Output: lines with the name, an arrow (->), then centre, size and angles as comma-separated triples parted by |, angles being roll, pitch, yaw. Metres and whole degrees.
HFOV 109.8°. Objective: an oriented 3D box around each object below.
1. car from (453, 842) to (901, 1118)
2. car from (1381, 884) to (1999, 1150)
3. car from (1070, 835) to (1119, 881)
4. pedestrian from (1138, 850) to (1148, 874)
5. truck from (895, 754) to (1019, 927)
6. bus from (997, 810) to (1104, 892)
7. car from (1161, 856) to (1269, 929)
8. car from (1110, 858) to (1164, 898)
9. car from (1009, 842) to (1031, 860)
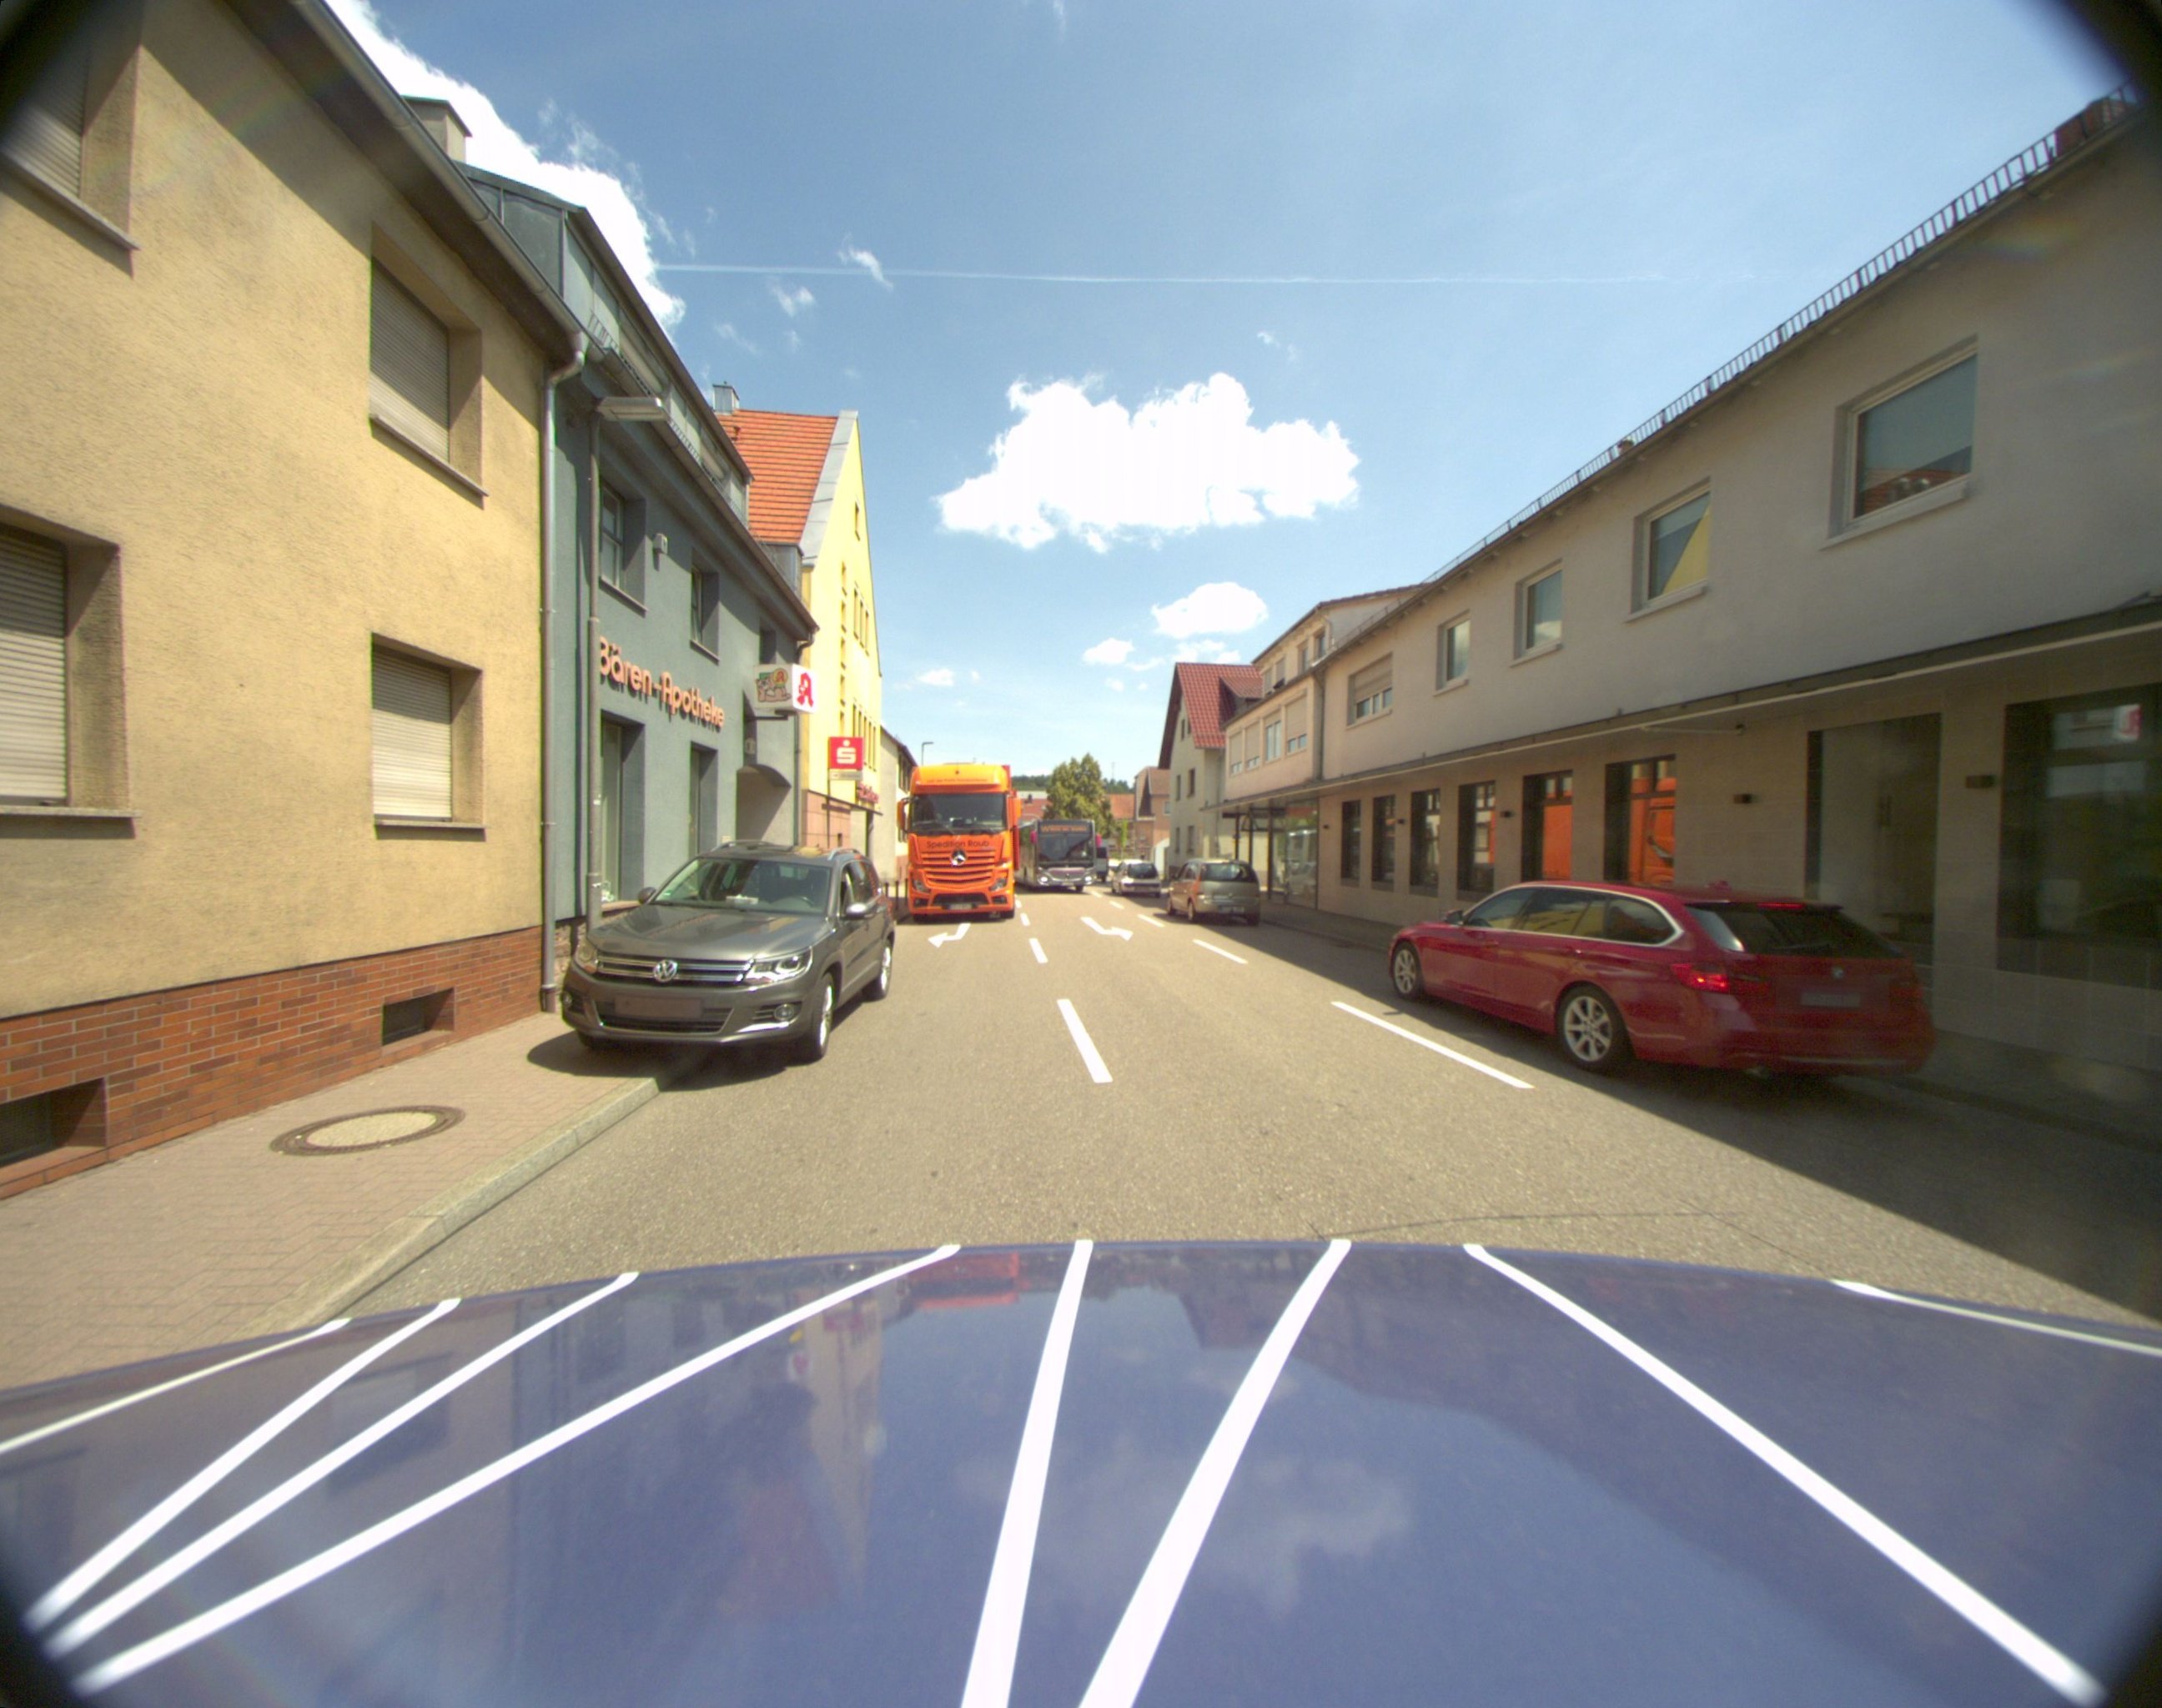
car -> -3.039, 0.804, 6.877 | 1.999, 1.699, 4.099 | 2, 0, -4
car -> 4.466, 1.059, 6.621 | 1.722, 1.400, 4.283 | 3, -1, -4
car -> 0.740, 0.241, 46.141 | 2.147, 2.554, 5.389 | 2, 0, -8
pedestrian -> 4.461, 0.579, 54.665 | 0.472, 1.754, 0.477 | 0, 2, -27
truck -> -3.264, -0.275, 22.486 | 2.616, 3.922, 9.988 | -2, 0, -4
bus -> -2.194, -0.111, 39.017 | 2.861, 3.186, 19.015 | -1, 0, -10
car -> 3.341, 0.923, 19.617 | 1.684, 1.607, 3.819 | 4, -1, -6
car -> 2.240, 0.930, 31.135 | 1.601, 1.447, 3.445 | 2, 0, -5
car -> -5.357, -0.272, 66.372 | 1.602, 1.447, 3.444 | 2, 0, -10
